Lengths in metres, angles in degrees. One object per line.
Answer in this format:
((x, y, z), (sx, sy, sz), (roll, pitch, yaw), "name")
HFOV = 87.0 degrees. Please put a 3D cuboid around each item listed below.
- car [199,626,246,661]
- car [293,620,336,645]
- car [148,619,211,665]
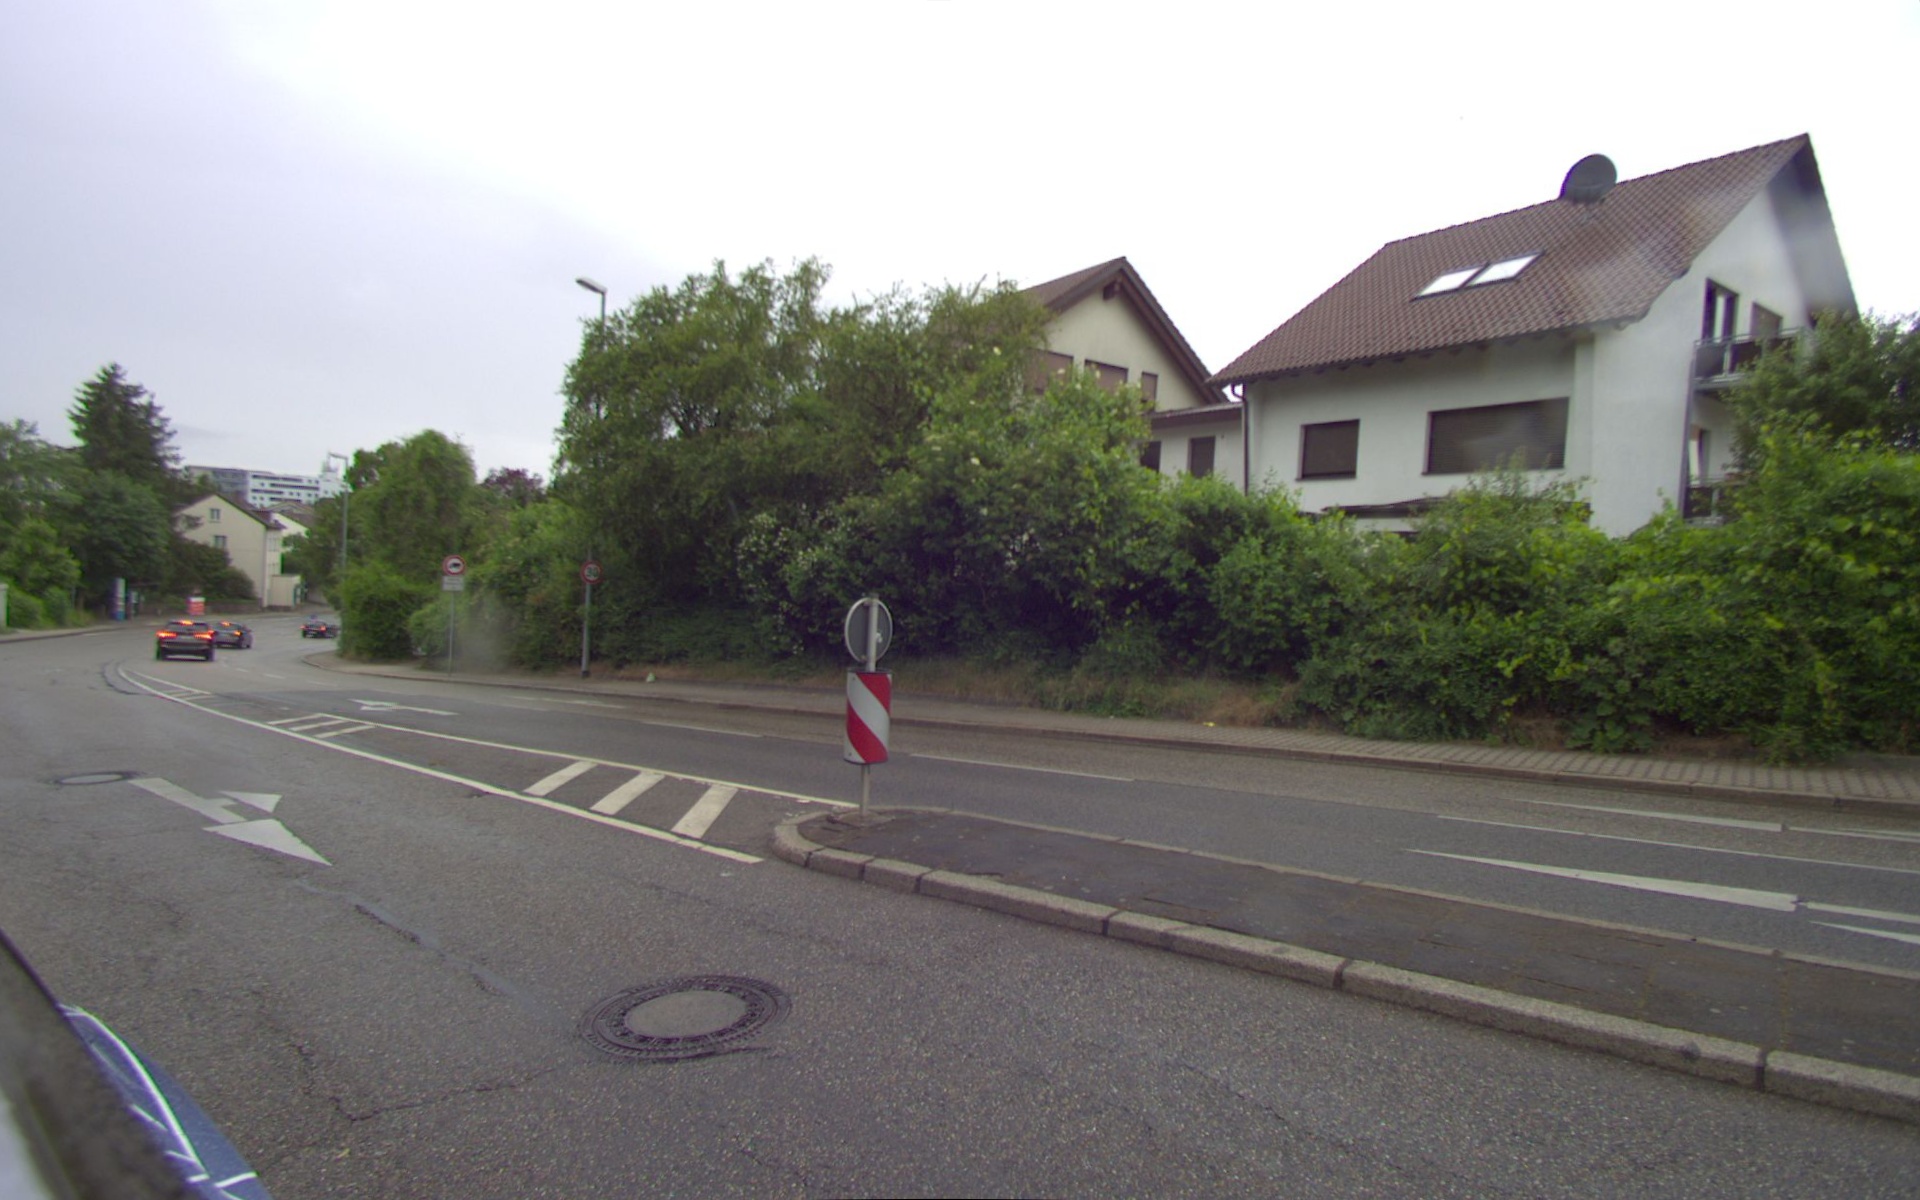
((-44.852, 2.630, 61.614), (2.097, 2.029, 4.097), (2, -3, -33), "car")
((-52.514, 2.652, 82.451), (1.966, 1.929, 4.012), (1, -2, -18), "car")
((-33.903, 1.833, 44.043), (1.930, 1.860, 4.009), (4, -4, -36), "car")
